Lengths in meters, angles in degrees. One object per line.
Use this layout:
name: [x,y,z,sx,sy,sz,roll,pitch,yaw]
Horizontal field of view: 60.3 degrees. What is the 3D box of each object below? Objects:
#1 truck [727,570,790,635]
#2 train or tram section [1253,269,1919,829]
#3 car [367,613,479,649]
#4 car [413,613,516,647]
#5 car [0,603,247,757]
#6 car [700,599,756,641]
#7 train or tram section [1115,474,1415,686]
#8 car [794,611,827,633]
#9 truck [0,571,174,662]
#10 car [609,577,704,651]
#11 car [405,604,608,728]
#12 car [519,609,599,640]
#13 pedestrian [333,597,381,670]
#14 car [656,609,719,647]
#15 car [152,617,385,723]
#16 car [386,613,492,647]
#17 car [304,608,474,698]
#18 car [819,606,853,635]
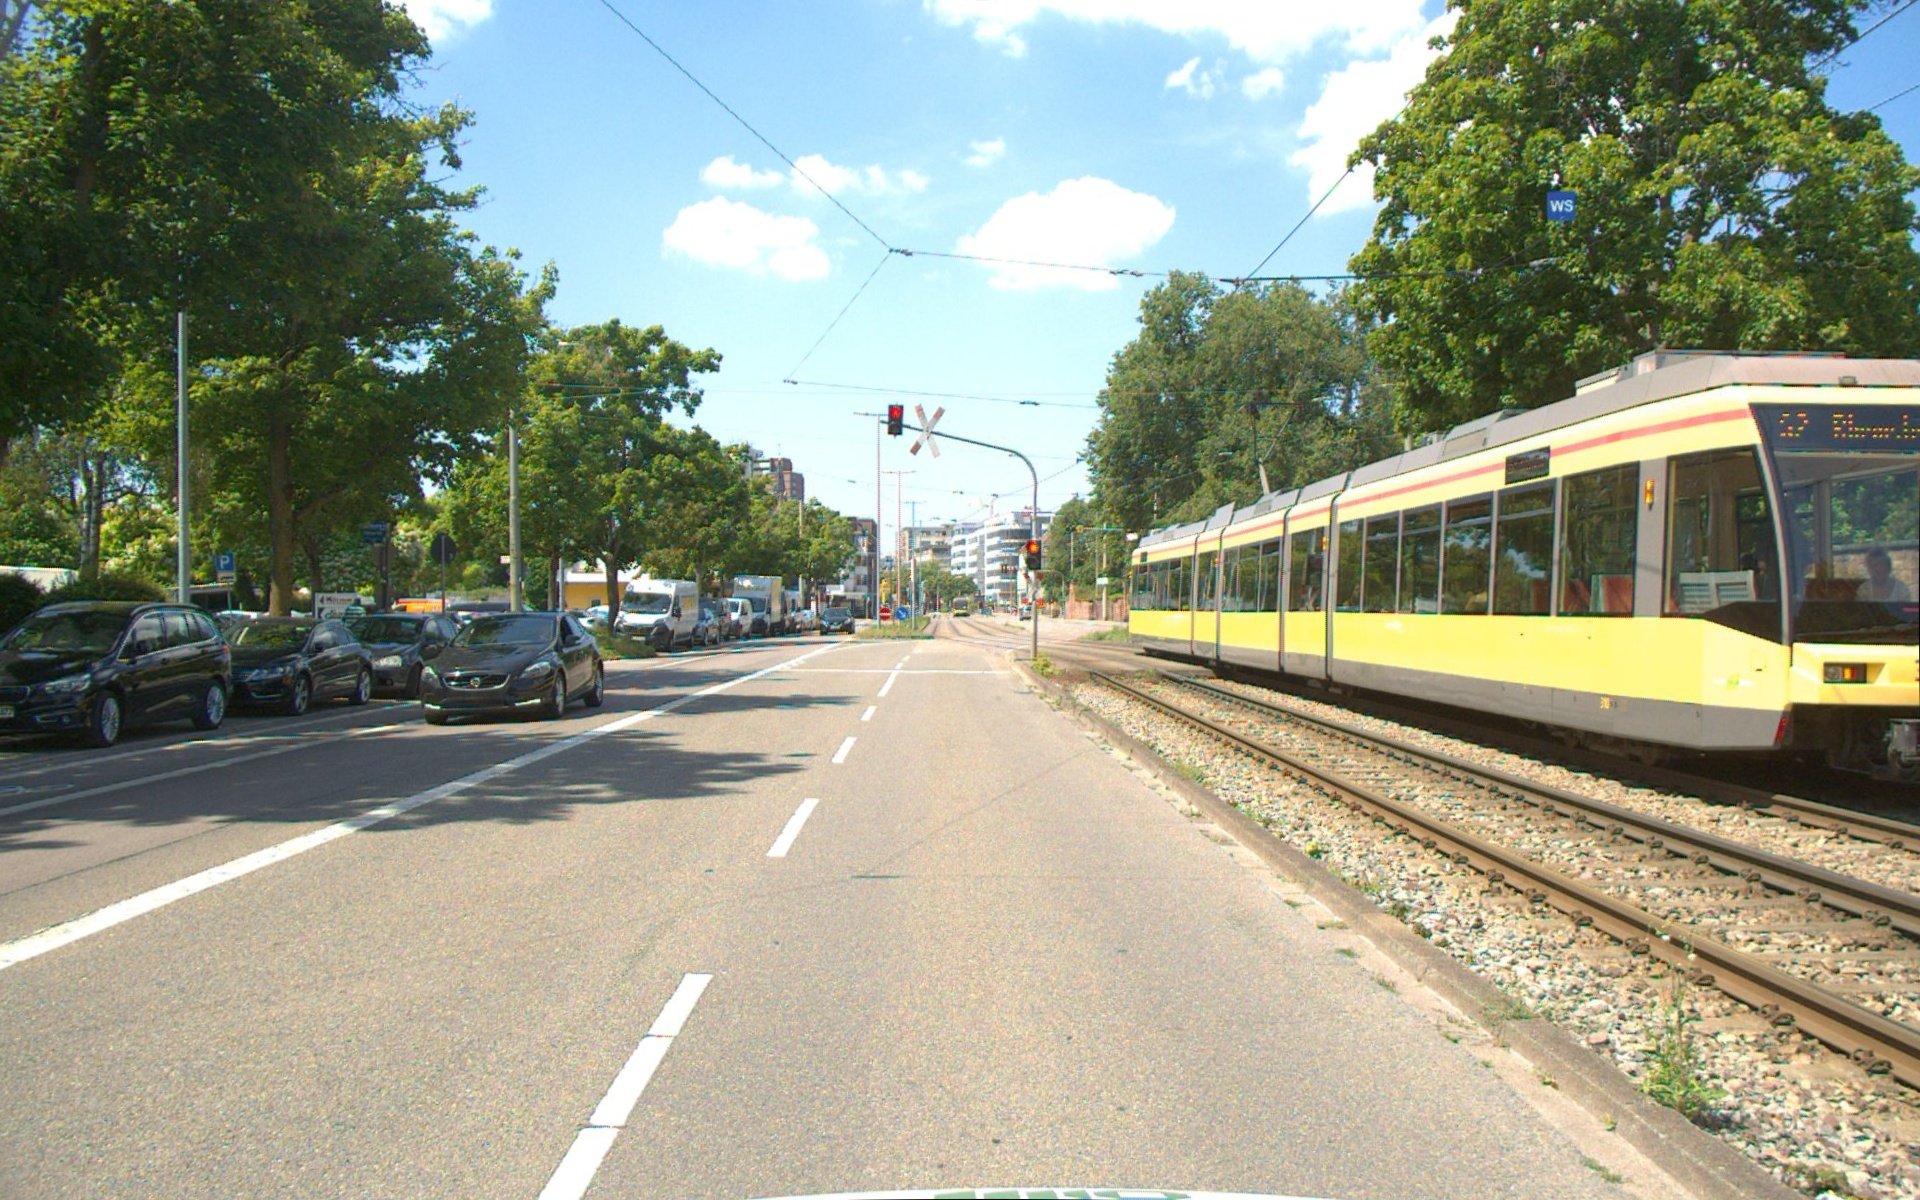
truck: [-10.716,0.139,88.514,2.112,3.266,7.083,3,0,2]
train or tram section: [6.792,-0.338,20.348,2.883,3.756,18.386,1,0,-1]
car: [-21.679,1.233,66.856,3.906,1.363,1.804,-1,0,-2]
car: [-21.554,1.297,72.056,3.906,1.363,1.804,-1,0,-2]
car: [-10.452,0.859,20.048,1.739,1.632,4.635,1,0,-2]
car: [-11.173,0.929,79.915,2.019,1.931,4.871,-1,0,0]
train or tram section: [6.403,-0.359,39.676,2.884,3.756,20.276,1,0,-2]
car: [-11.232,1.620,124.760,2.019,1.609,4.871,-1,0,0]
truck: [-33.536,0.614,61.920,7.043,3.284,2.331,-1,0,-3]
car: [-11.007,0.492,60.405,2.112,2.530,6.194,1,0,2]
car: [-6.108,0.826,22.769,1.739,1.485,4.193,-2,0,-2]
car: [-21.732,1.312,89.798,3.906,1.634,1.804,-1,0,-2]
pedestrian: [-15.440,0.850,42.365,0.955,1.855,0.794,-1,0,-4]
car: [-11.021,1.093,67.116,1.830,1.462,4.342,-1,0,0]
car: [-10.527,1.008,25.575,1.739,1.397,4.695,2,0,-2]
car: [-21.859,1.250,69.491,3.906,1.363,1.804,-1,0,-2]
car: [-10.428,0.922,30.520,1.738,1.506,4.047,1,0,-1]
car: [-6.695,1.087,89.388,1.644,1.422,4.003,-2,0,-2]
